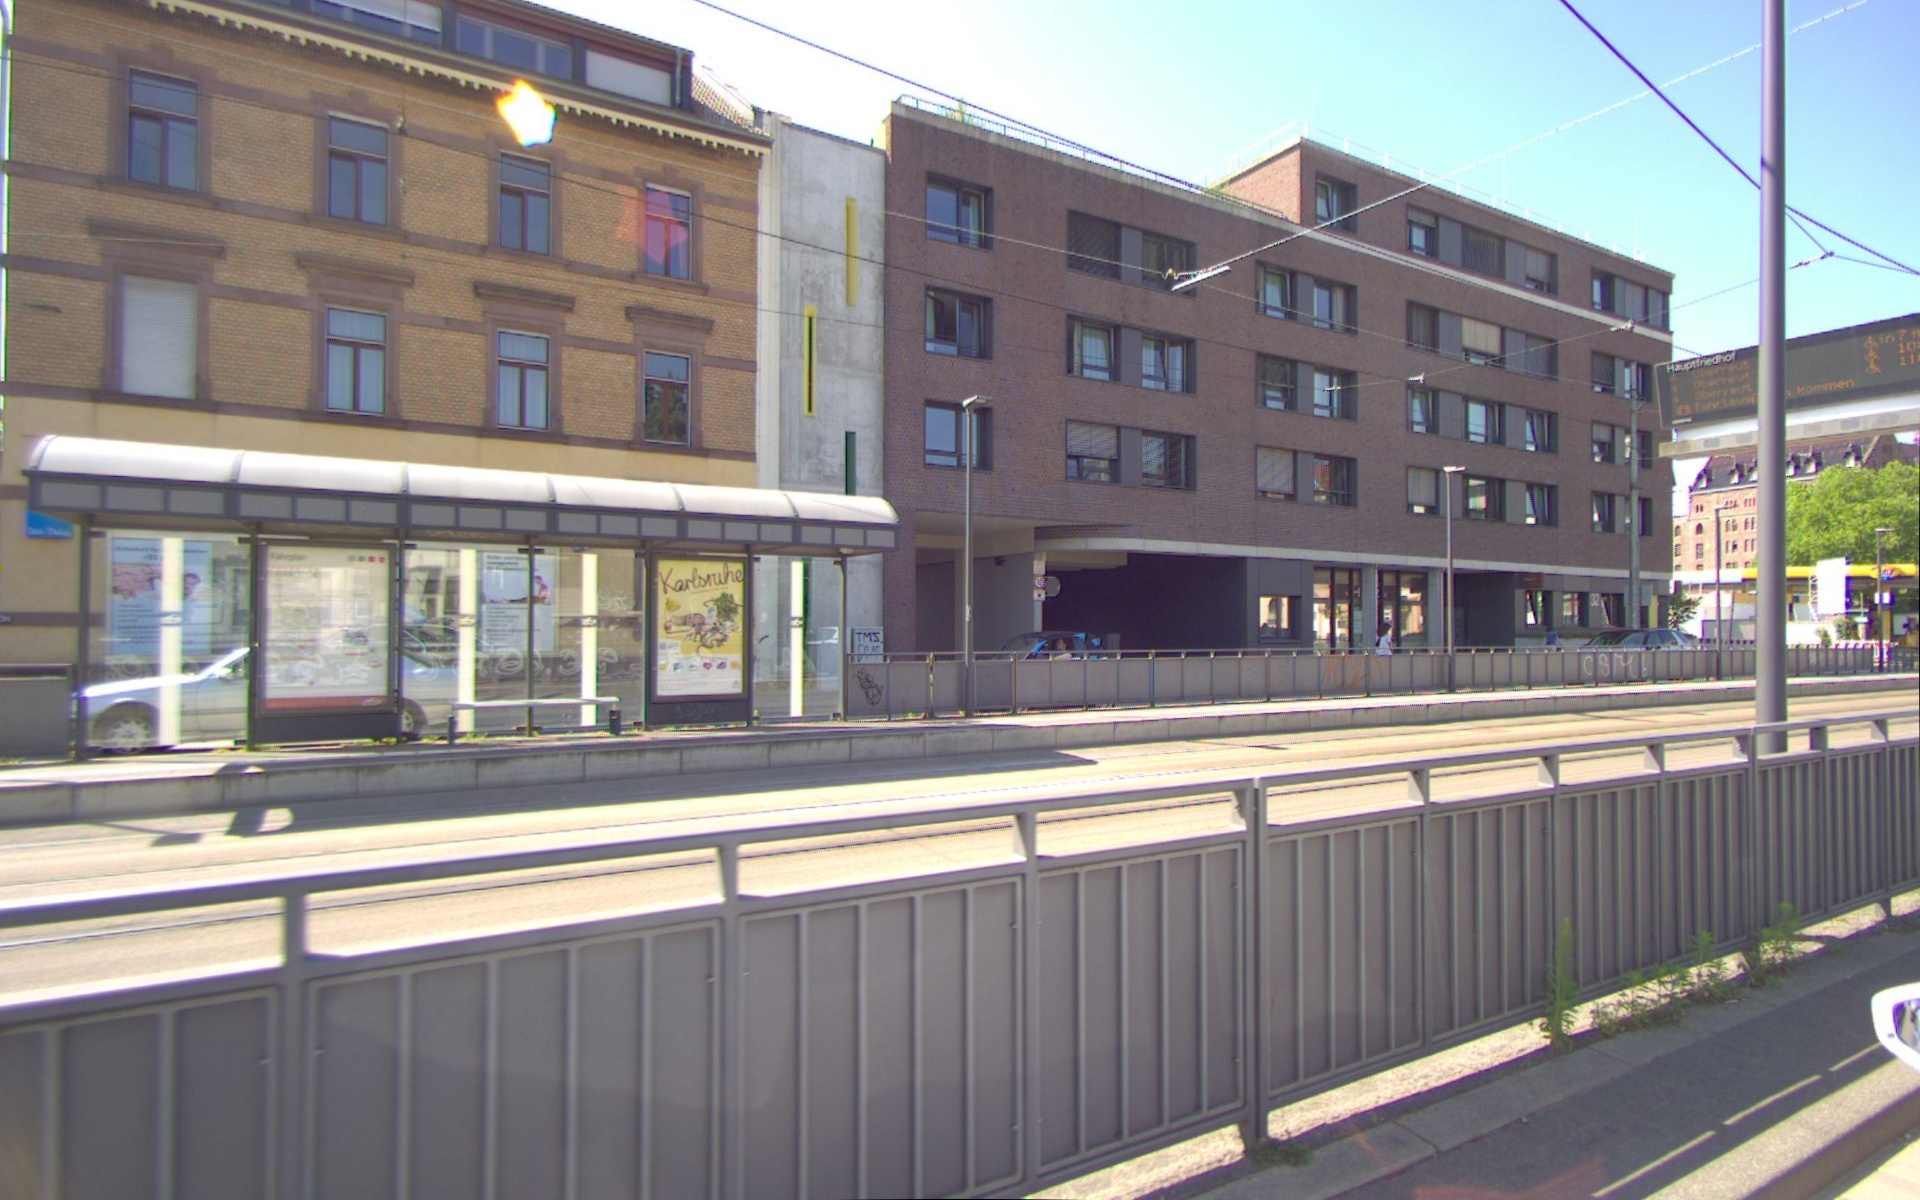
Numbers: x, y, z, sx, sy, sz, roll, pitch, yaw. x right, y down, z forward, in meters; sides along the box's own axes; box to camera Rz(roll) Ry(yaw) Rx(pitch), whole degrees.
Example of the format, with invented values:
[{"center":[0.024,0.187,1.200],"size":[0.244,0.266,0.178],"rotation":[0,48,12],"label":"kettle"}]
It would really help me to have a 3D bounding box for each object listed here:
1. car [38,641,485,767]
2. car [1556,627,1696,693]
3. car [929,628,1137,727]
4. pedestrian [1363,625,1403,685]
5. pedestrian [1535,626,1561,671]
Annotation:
[{"center":[-8.684,1.224,12.976],"size":[4.470,1.381,1.623],"rotation":[2,-2,-31],"label":"car"},{"center":[19.481,1.690,29.348],"size":[4.140,1.752,1.792],"rotation":[1,0,-30],"label":"car"},{"center":[1.373,1.378,18.730],"size":[3.537,1.644,1.704],"rotation":[1,-1,-31],"label":"car"},{"center":[13.292,1.716,31.554],"size":[0.829,1.843,0.840],"rotation":[1,-1,-30],"label":"pedestrian"},{"center":[22.039,1.813,37.622],"size":[0.692,1.686,0.578],"rotation":[1,-2,-32],"label":"pedestrian"}]
